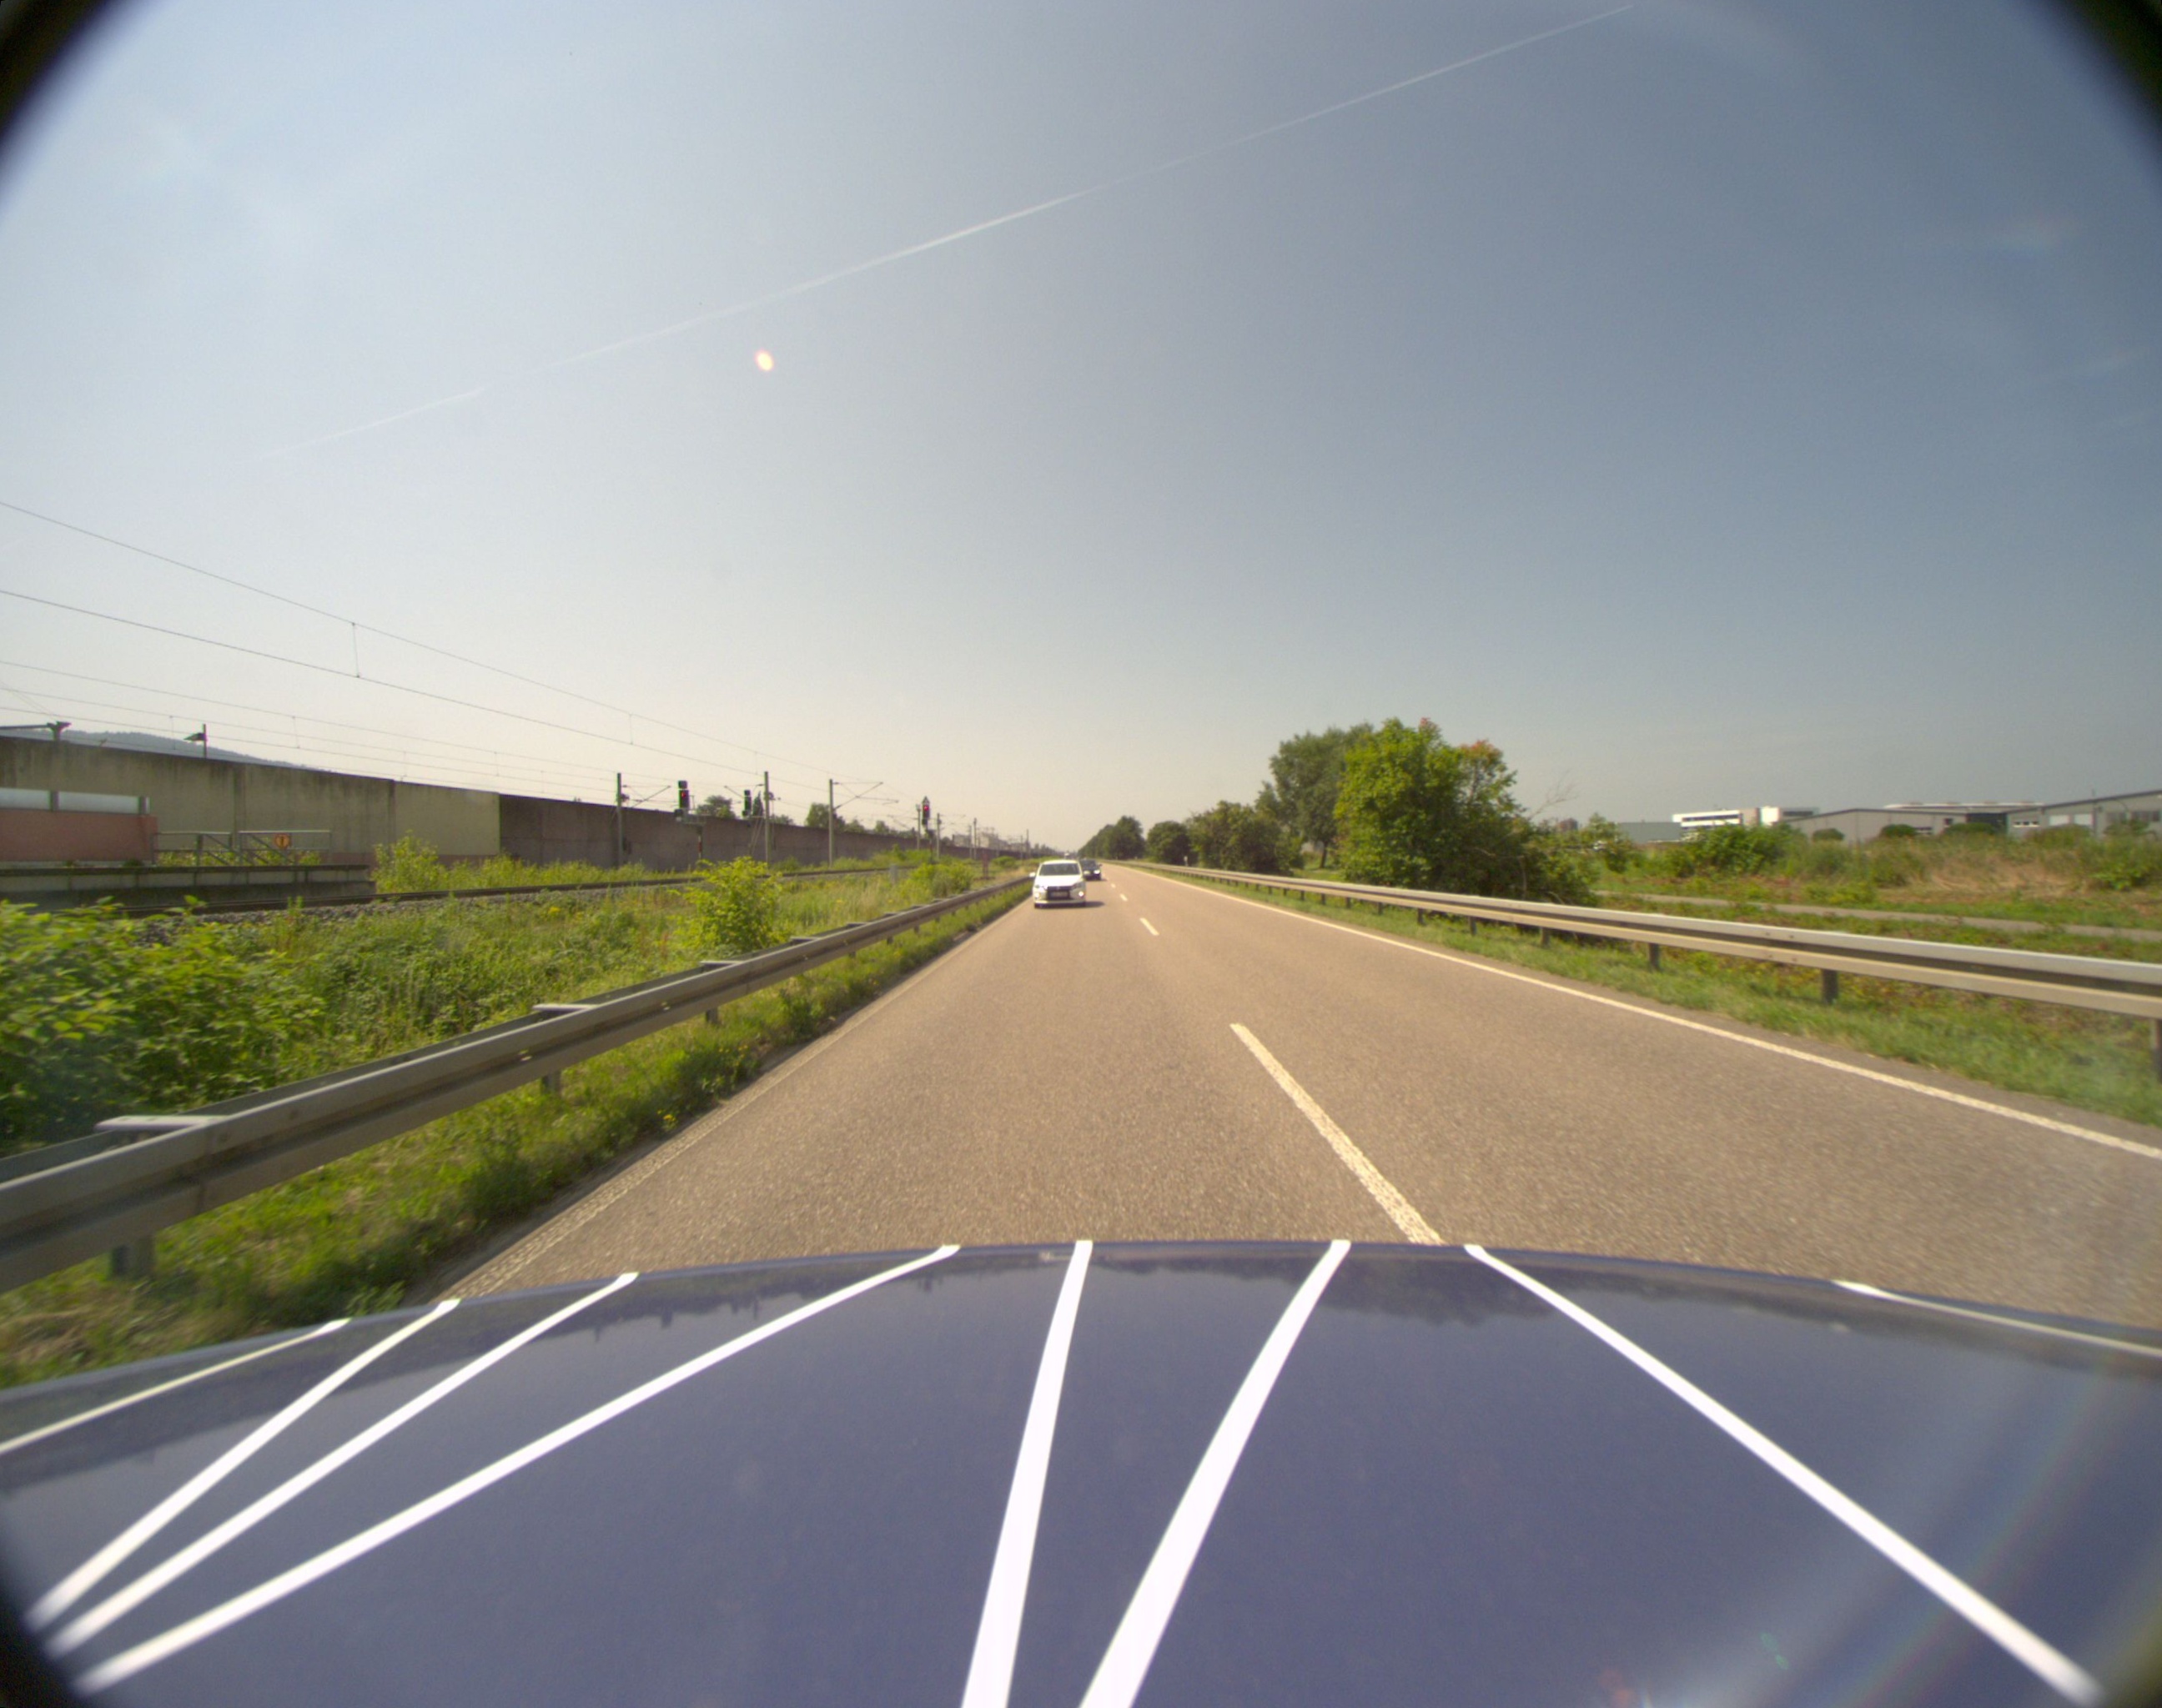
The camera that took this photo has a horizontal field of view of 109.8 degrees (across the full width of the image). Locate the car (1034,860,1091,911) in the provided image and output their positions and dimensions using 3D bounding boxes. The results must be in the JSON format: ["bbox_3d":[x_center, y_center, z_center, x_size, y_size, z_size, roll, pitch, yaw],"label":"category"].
[{"bbox_3d":[-0.615,0.967,25.131,1.701,1.470,4.154,-2,0,-2],"label":"car"}]

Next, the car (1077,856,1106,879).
[{"bbox_3d":[0.676,0.863,50.787,1.711,1.470,4.154,-2,0,-2],"label":"car"}]

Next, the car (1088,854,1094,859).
[{"bbox_3d":[3.158,0.899,237.941,1.702,1.466,4.686,-2,0,0],"label":"car"}]
